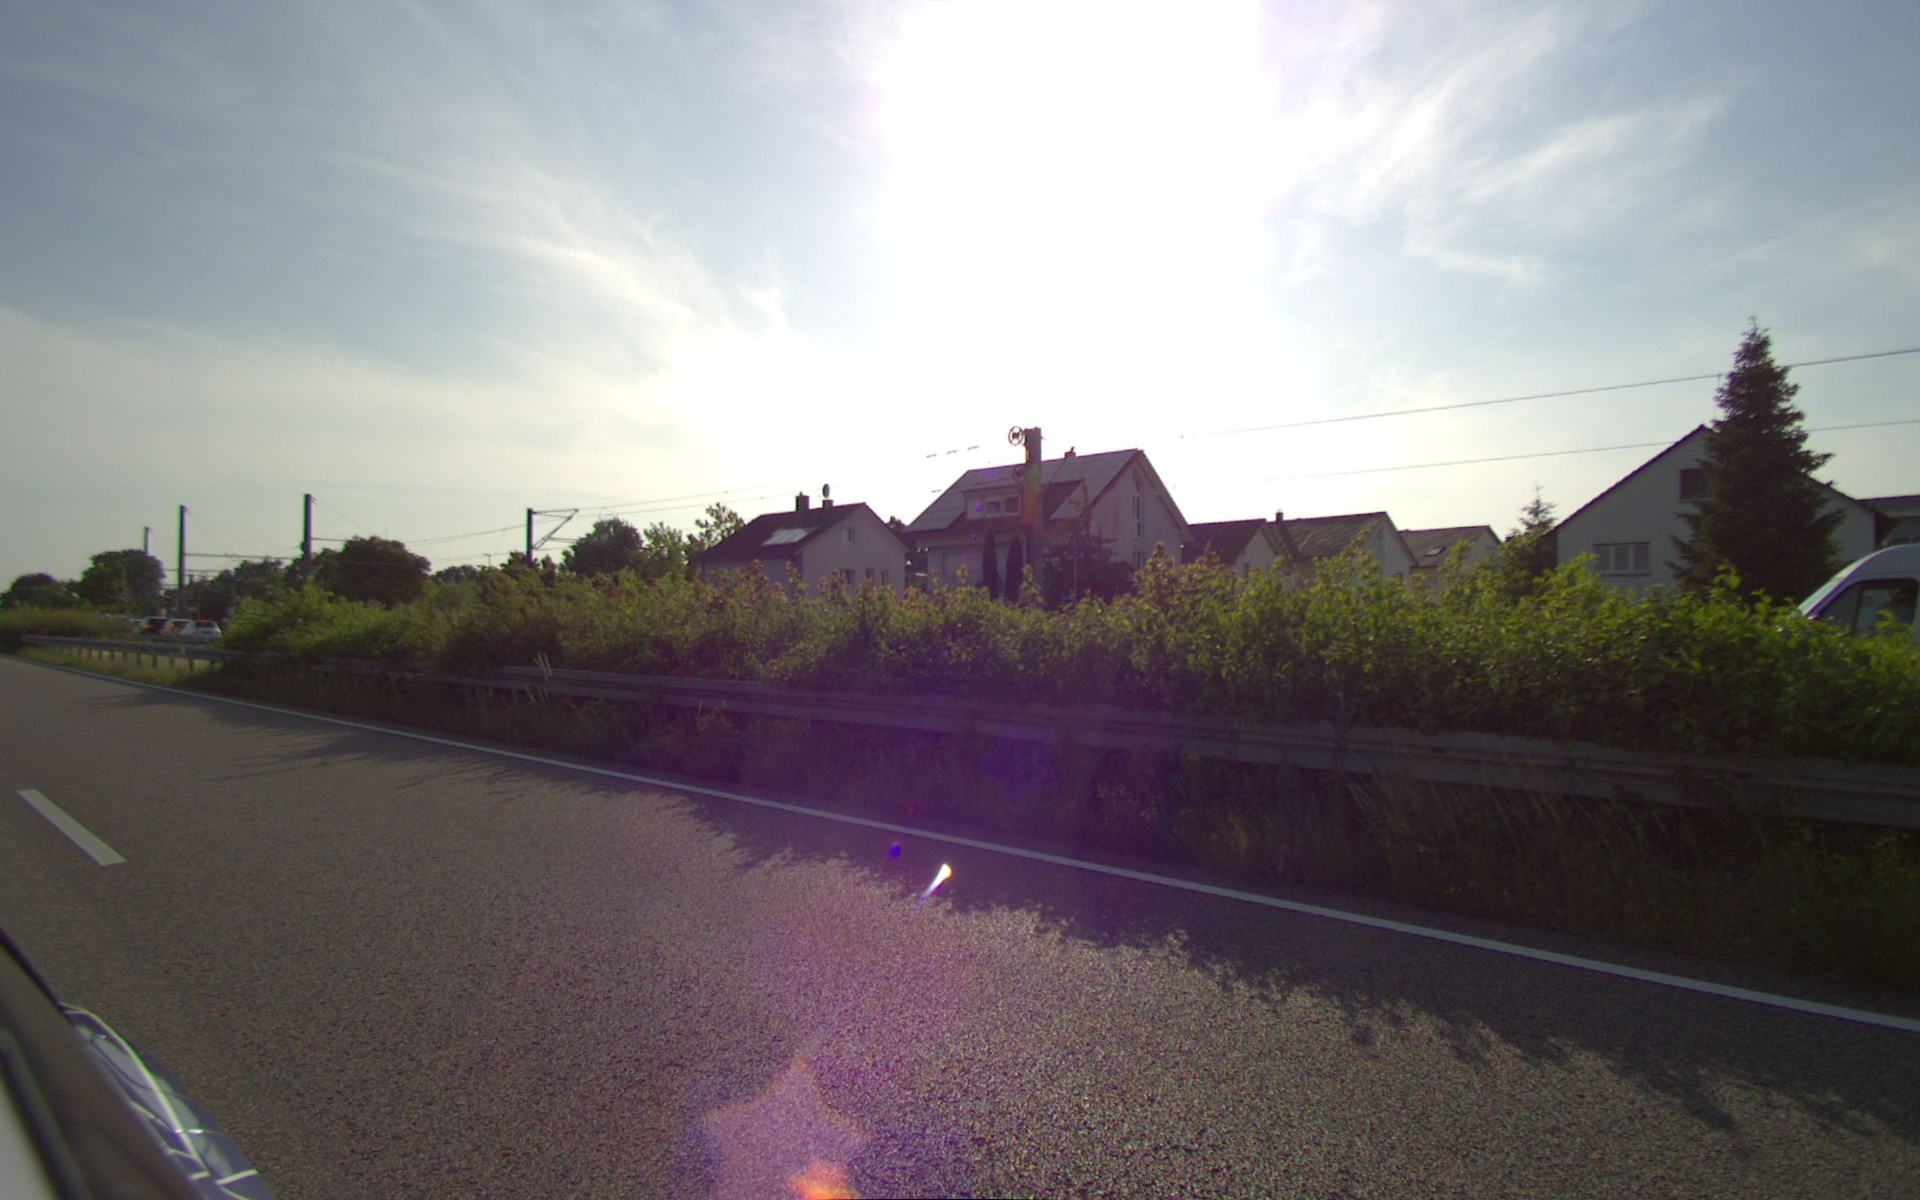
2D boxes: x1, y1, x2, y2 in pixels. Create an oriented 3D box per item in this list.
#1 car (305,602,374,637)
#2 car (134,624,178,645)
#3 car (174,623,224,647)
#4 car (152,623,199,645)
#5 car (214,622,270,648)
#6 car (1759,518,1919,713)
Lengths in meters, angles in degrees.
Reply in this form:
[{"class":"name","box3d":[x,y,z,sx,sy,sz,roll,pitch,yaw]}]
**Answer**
[{"class":"car","box3d":[-32.652,1.013,53.245,3.998,1.763,1.973,-1,0,41]},{"class":"car","box3d":[-56.114,2.377,70.610,3.620,1.377,1.711,-1,-4,41]},{"class":"car","box3d":[-46.830,2.152,62.260,3.620,1.377,1.711,-1,-4,41]},{"class":"car","box3d":[-52.120,2.281,67.227,3.620,1.377,1.711,-1,-4,41]},{"class":"car","box3d":[-40.484,1.999,57.035,3.620,1.377,1.711,-1,-4,41]},{"class":"car","box3d":[11.513,0.130,10.570,4.869,2.029,1.973,-1,0,41]}]
